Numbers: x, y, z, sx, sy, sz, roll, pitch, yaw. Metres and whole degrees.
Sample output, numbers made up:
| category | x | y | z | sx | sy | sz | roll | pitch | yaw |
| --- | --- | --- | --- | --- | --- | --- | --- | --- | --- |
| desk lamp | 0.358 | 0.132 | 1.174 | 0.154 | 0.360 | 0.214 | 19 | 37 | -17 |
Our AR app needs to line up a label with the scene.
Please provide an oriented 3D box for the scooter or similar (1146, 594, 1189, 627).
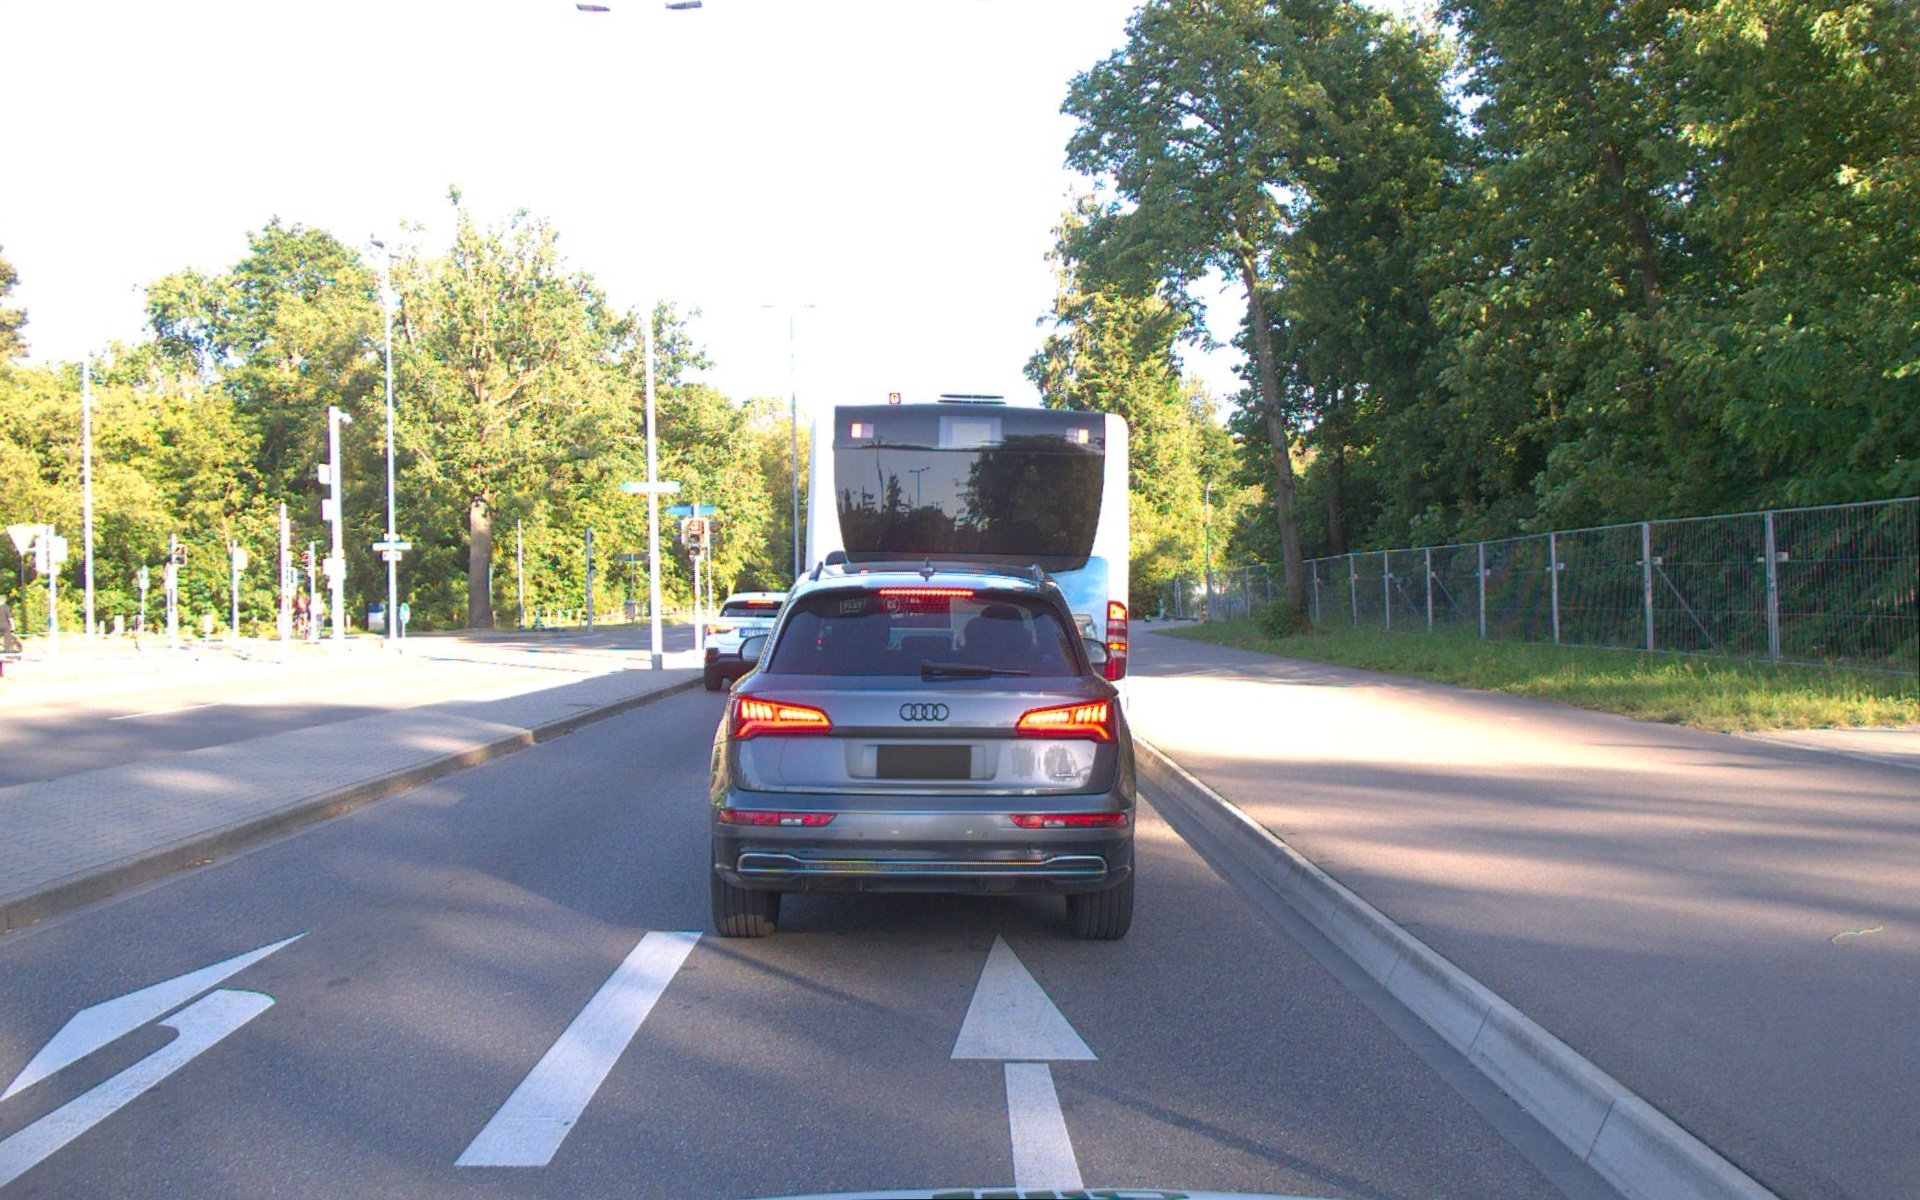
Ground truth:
| category | x | y | z | sx | sy | sz | roll | pitch | yaw |
| --- | --- | --- | --- | --- | --- | --- | --- | --- | --- |
| scooter or similar | 9.800 | 0.488 | 78.027 | 1.991 | 1.469 | 0.601 | -2 | 0 | -26 |

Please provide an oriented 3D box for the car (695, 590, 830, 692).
| category | x | y | z | sx | sy | sz | roll | pitch | yaw |
| --- | --- | --- | --- | --- | --- | --- | --- | --- | --- |
| car | -3.192 | 0.618 | 27.416 | 1.799 | 1.545 | 3.999 | -1 | 0 | -1 |

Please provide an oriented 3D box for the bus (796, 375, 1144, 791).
| category | x | y | z | sx | sy | sz | roll | pitch | yaw |
| --- | --- | --- | --- | --- | --- | --- | --- | --- | --- |
| bus | 0.011 | -0.095 | 16.818 | 2.542 | 3.041 | 9.324 | 0 | 0 | -1 |

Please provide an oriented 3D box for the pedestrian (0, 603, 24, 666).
| category | x | y | z | sx | sy | sz | roll | pitch | yaw |
| --- | --- | --- | --- | --- | --- | --- | --- | --- | --- |
| pedestrian | -24.130 | 0.872 | 41.848 | 0.643 | 1.587 | 0.531 | -1 | 0 | -43 |

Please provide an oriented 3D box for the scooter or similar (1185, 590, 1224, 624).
| category | x | y | z | sx | sy | sz | roll | pitch | yaw |
| --- | --- | --- | --- | --- | --- | --- | --- | --- | --- |
| scooter or similar | 11.718 | 0.328 | 79.352 | 0.535 | 1.594 | 1.993 | -2 | 0 | -40 |

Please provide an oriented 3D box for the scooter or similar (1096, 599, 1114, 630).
| category | x | y | z | sx | sy | sz | roll | pitch | yaw |
| --- | --- | --- | --- | --- | --- | --- | --- | --- | --- |
| scooter or similar | 7.067 | 0.679 | 80.718 | 0.498 | 1.469 | 2.020 | -2 | 0 | -6 |

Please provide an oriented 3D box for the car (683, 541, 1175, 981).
| category | x | y | z | sx | sy | sz | roll | pitch | yaw |
| --- | --- | --- | --- | --- | --- | --- | --- | --- | --- |
| car | -0.144 | 0.610 | 8.315 | 1.860 | 1.660 | 3.999 | 1 | 0 | -1 |
